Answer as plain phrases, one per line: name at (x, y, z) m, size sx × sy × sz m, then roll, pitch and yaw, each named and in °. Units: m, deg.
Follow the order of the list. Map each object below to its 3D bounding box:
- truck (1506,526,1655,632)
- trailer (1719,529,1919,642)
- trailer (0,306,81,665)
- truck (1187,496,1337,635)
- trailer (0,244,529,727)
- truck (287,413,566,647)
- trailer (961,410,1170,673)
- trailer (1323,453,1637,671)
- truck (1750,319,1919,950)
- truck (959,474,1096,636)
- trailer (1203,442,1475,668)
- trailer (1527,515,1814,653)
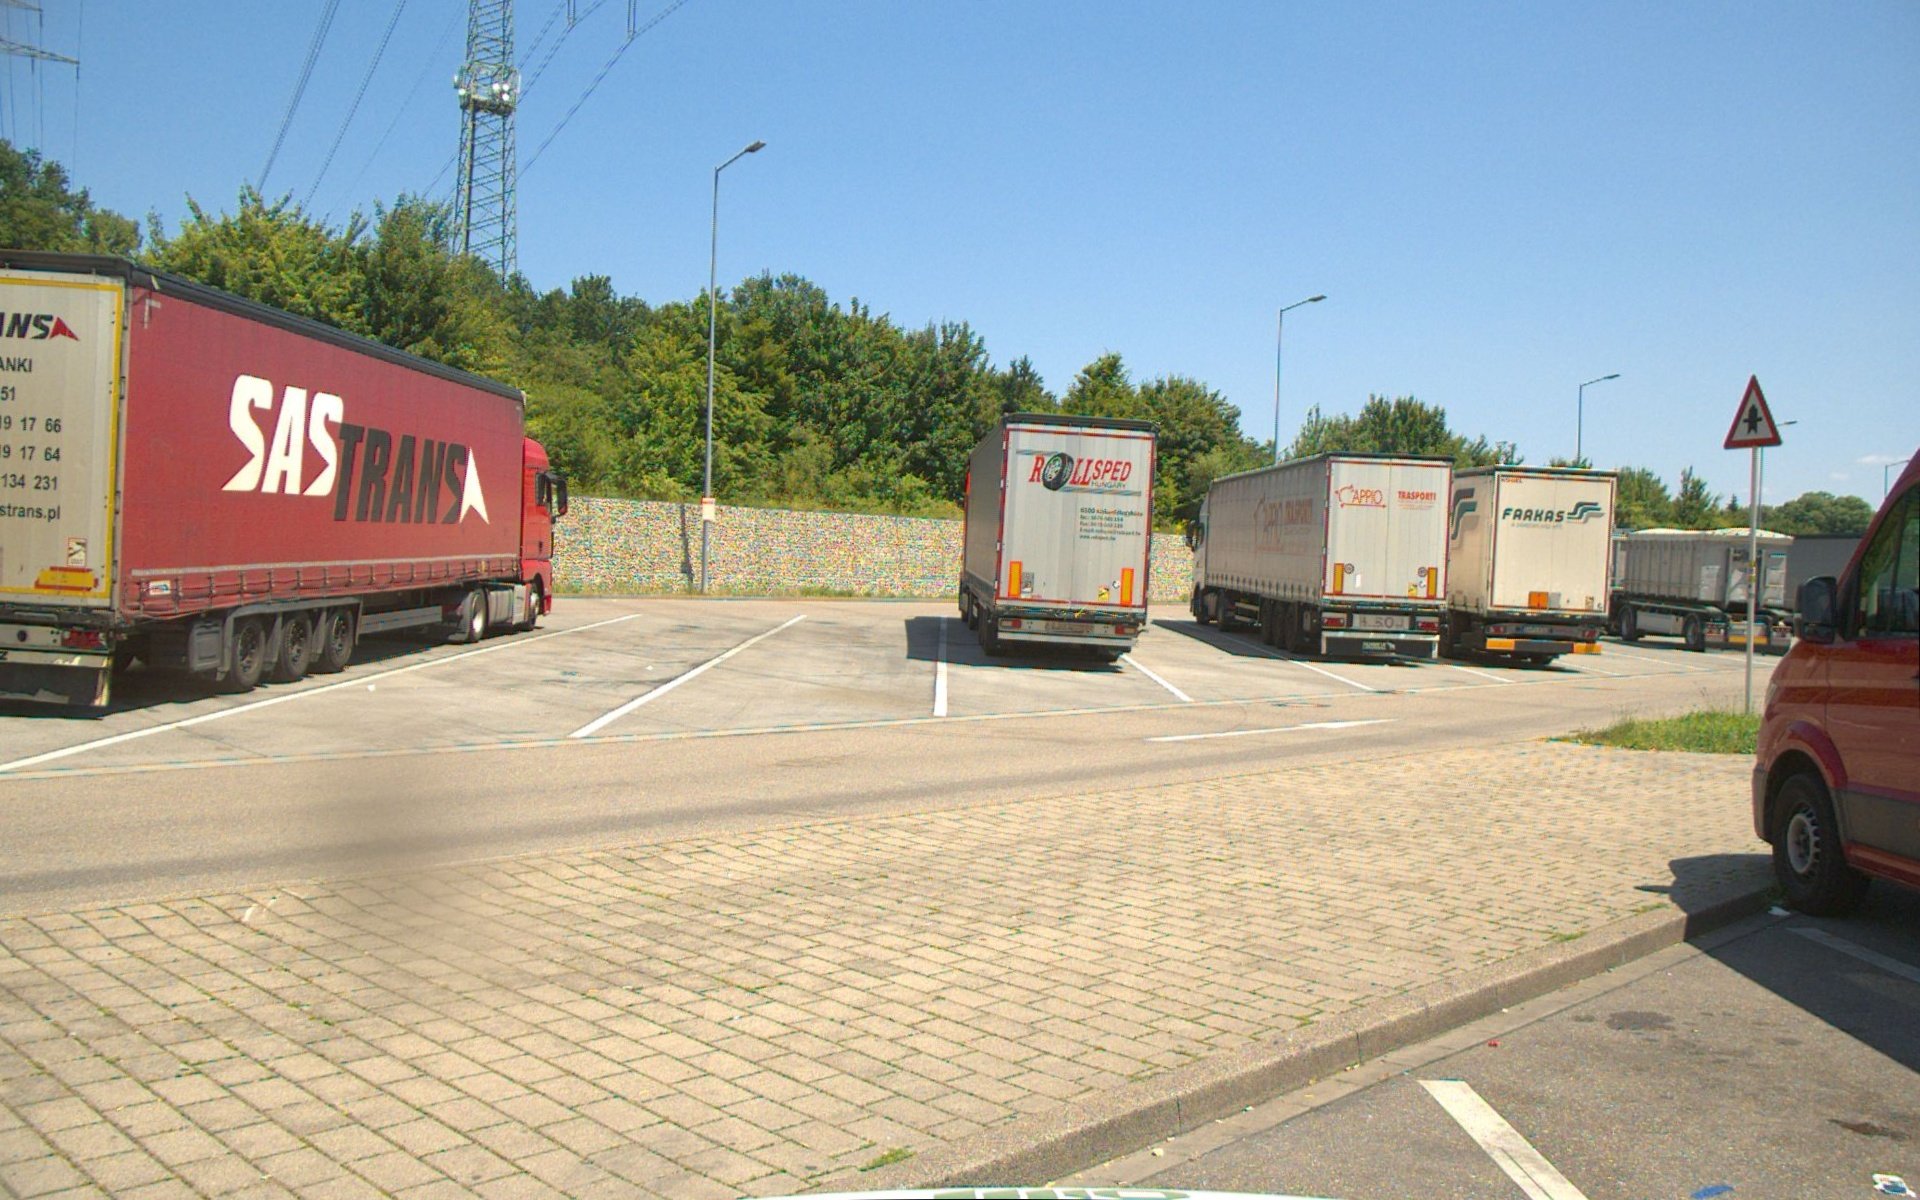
truck at (21.739, -0.798, 58.326) m, size 2.808 × 3.421 × 5.974 m, roll 2°, pitch 2°, yaw -1°
trailer at (34.790, -0.716, 65.430) m, size 2.800 × 3.972 × 13.762 m, roll 2°, pitch 2°, yaw -1°
trailer at (-12.484, -1.254, 15.778) m, size 2.651 × 4.173 × 10.389 m, roll 2°, pitch 2°, yaw -1°
truck at (8.129, -0.985, 45.249) m, size 2.808 × 3.421 × 5.974 m, roll 2°, pitch 2°, yaw -1°
trailer at (-8.687, -1.267, 21.235) m, size 2.764 × 4.141 × 13.763 m, roll 2°, pitch 2°, yaw -1°
truck at (-8.796, -1.159, 28.051) m, size 2.755 × 3.421 × 5.974 m, roll 2°, pitch 2°, yaw -1°
trailer at (1.679, -1.174, 33.133) m, size 2.800 × 4.040 × 13.761 m, roll 2°, pitch 2°, yaw -2°
trailer at (11.772, -0.992, 39.551) m, size 2.800 × 4.180 × 13.762 m, roll 2°, pitch 2°, yaw -1°
truck at (4.998, 0.157, 5.502) m, size 1.969 × 2.697 × 6.457 m, roll 1°, pitch 0°, yaw 3°
truck at (1.477, -1.090, 39.330) m, size 2.808 × 3.421 × 5.974 m, roll 2°, pitch 2°, yaw -1°
trailer at (8.252, -1.102, 38.486) m, size 2.800 × 4.180 × 13.762 m, roll 2°, pitch 2°, yaw -1°
trailer at (21.838, -0.684, 52.231) m, size 2.800 × 3.662 × 13.762 m, roll 2°, pitch 2°, yaw -1°
